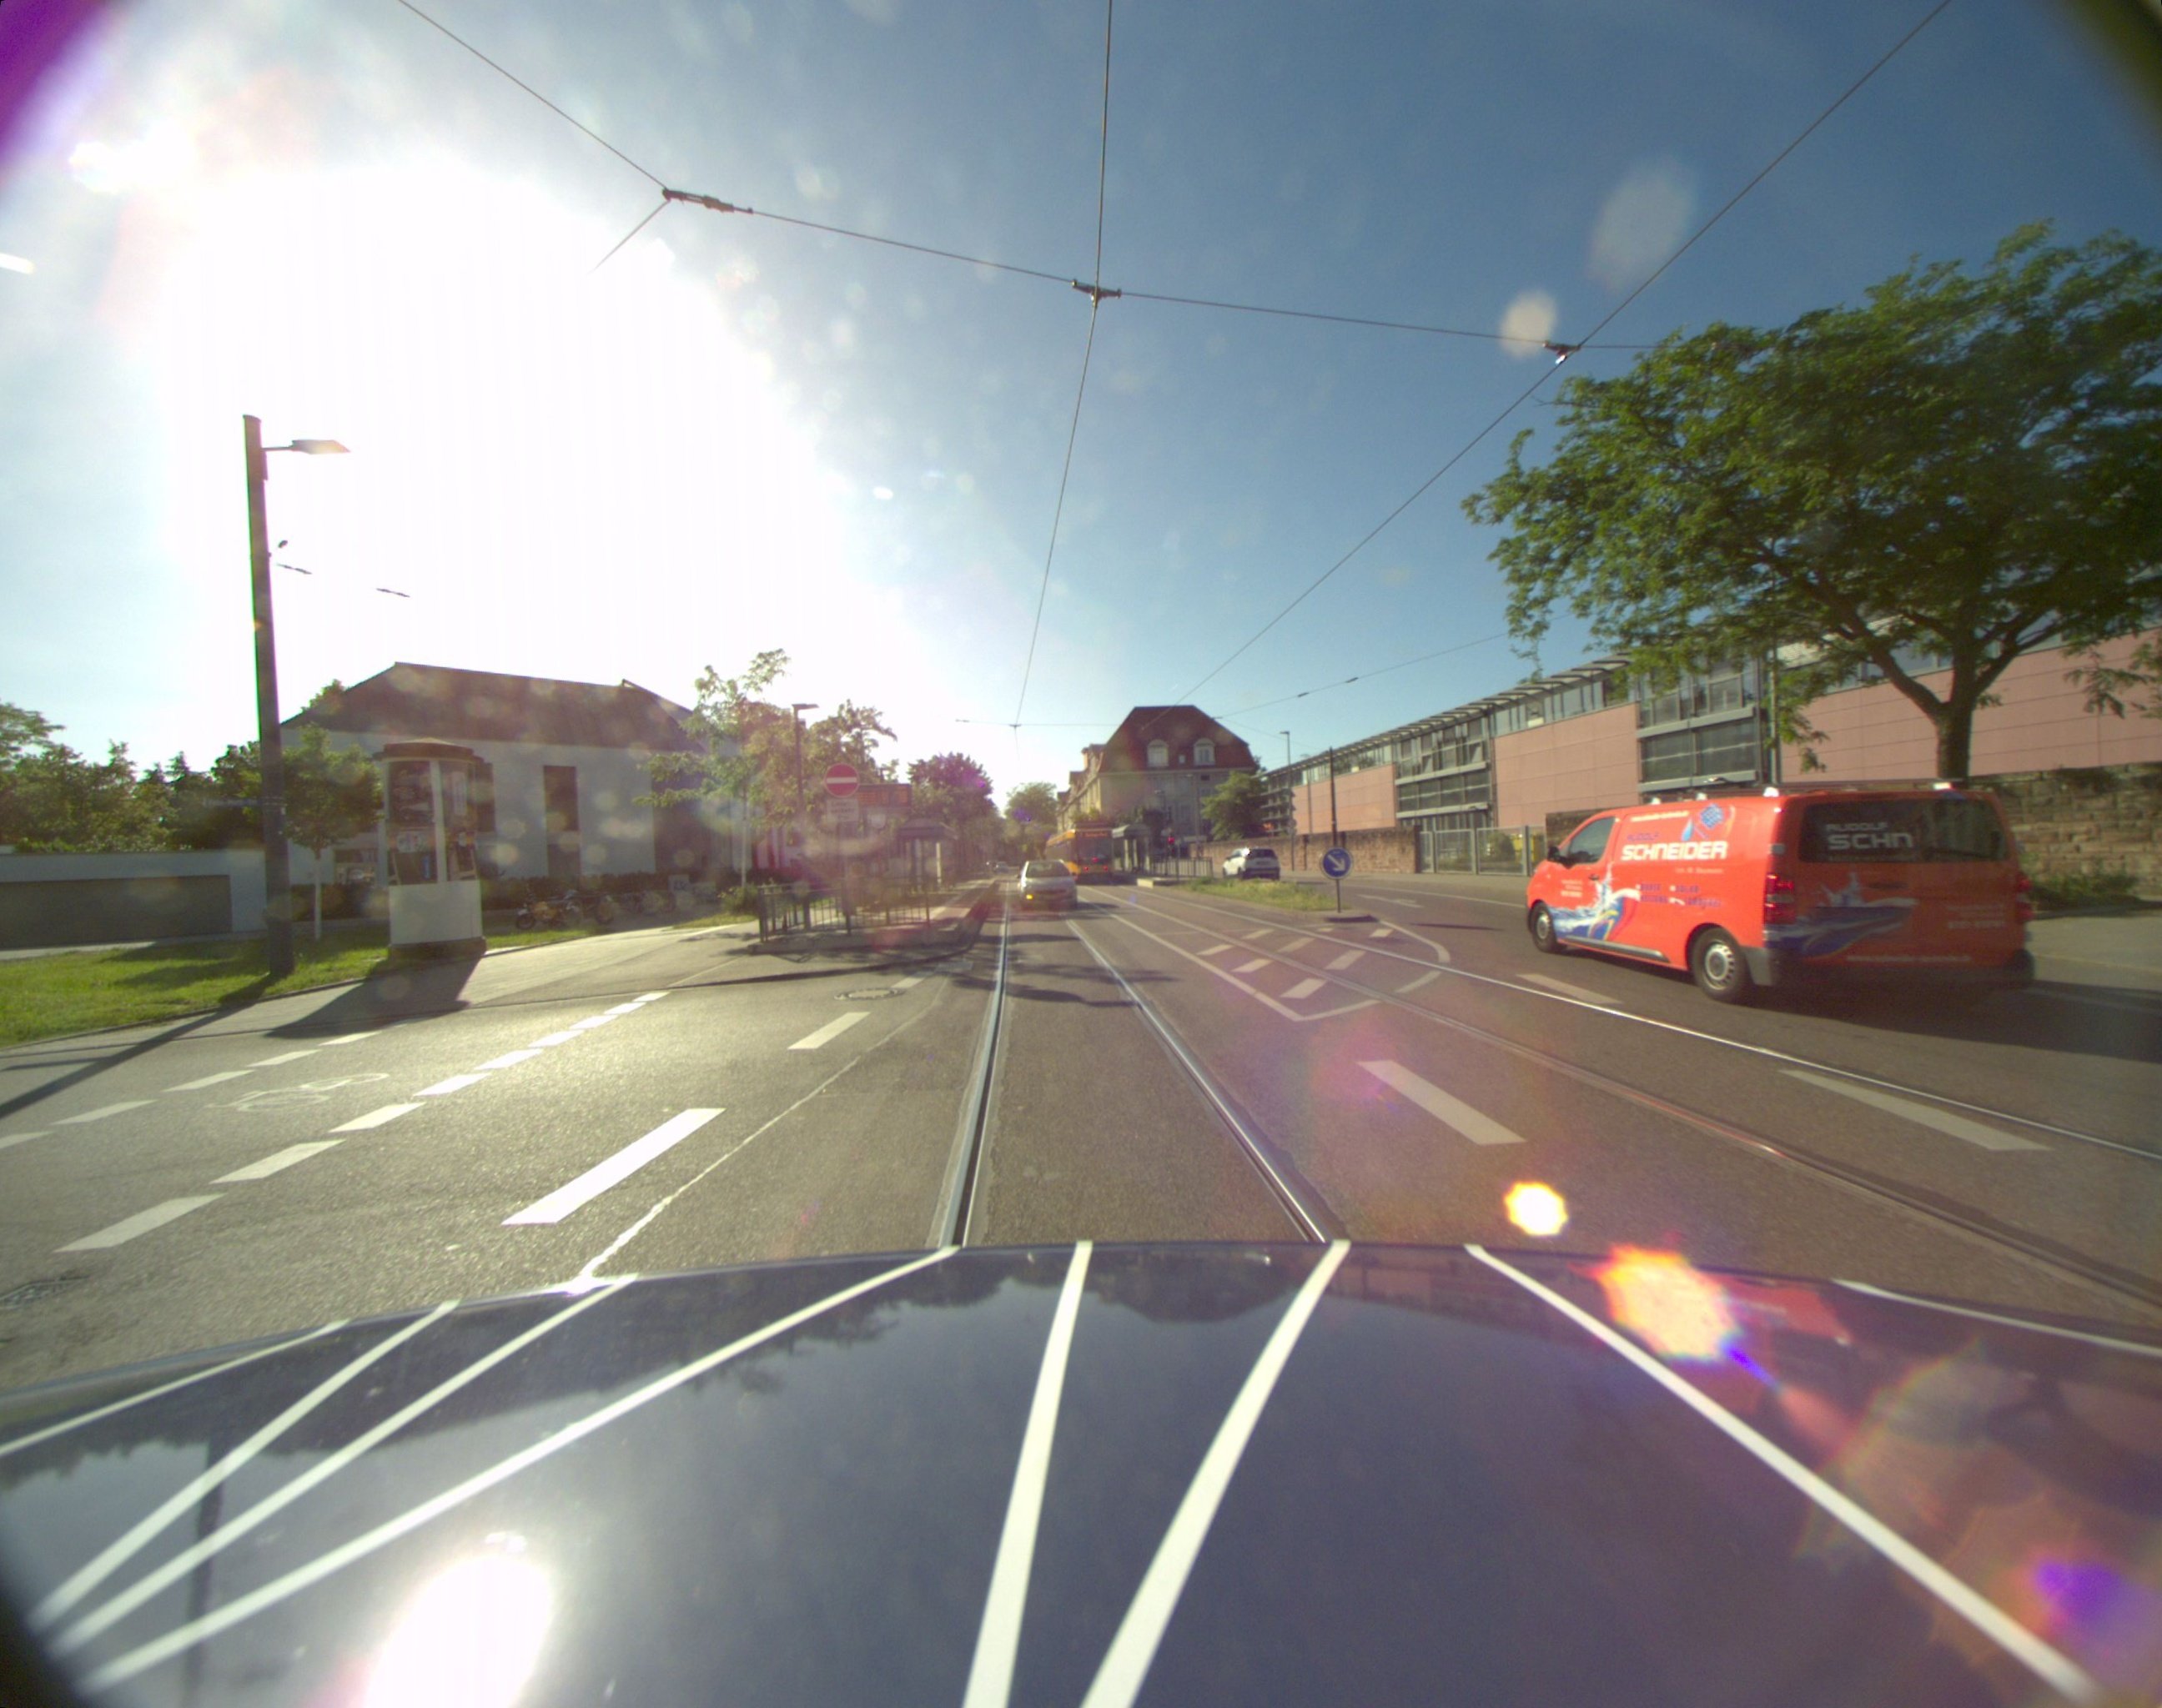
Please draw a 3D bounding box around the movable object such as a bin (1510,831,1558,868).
[{"bbox_3d":[16.791,-0.162,28.166,0.883,1.277,1.308,-2,1,-7],"label":"movable object such as a bin"}]

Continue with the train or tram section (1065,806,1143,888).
[{"bbox_3d":[0.938,-0.302,36.230,2.812,3.439,6.665,-3,0,-5],"label":"train or tram section"}]

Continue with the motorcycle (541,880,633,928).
[{"bbox_3d":[-14.753,1.470,22.738,2.084,1.267,0.861,-2,1,-11],"label":"motorcycle"}]

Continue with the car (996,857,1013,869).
[{"bbox_3d":[-10.091,1.210,100.318,1.744,1.450,3.689,-3,0,-13],"label":"car"}]

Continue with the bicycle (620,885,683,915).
[{"bbox_3d":[-15.617,1.657,27.663,1.904,0.973,0.491,-2,1,-11],"label":"bicycle"}]

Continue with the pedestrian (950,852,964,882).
[{"bbox_3d":[-7.190,0.734,44.070,0.673,1.694,0.690,-4,1,-6],"label":"pedestrian"}]

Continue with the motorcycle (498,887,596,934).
[{"bbox_3d":[-14.847,1.554,21.169,2.005,1.151,0.861,-2,1,-11],"label":"motorcycle"}]

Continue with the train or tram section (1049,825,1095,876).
[{"bbox_3d":[-0.769,-0.227,56.619,2.812,3.439,6.665,-3,0,-5],"label":"train or tram section"}]

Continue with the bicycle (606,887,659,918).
[{"bbox_3d":[-15.445,1.657,26.183,1.475,0.973,0.415,-2,1,-11],"label":"bicycle"}]

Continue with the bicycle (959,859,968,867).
[{"bbox_3d":[-14.620,1.115,94.601,0.827,0.880,2.198,-3,0,-1],"label":"bicycle"}]

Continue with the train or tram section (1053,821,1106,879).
[{"bbox_3d":[-0.202,-0.247,49.931,2.812,3.439,6.665,-3,0,-5],"label":"train or tram section"}]

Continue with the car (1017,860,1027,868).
[{"bbox_3d":[-10.911,1.886,140.429,1.743,1.450,4.403,-3,0,-6],"label":"car"}]

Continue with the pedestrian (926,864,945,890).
[{"bbox_3d":[-6.684,1.044,34.918,0.740,1.111,0.658,-4,1,-5],"label":"pedestrian"}]

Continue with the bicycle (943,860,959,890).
[{"bbox_3d":[-5.741,0.914,33.589,0.621,1.222,1.965,-3,0,-9],"label":"bicycle"}]

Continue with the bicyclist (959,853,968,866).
[{"bbox_3d":[-14.642,0.666,94.624,0.819,1.491,1.258,-3,0,-1],"label":"bicyclist"}]

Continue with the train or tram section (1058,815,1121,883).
[{"bbox_3d":[0.360,-0.268,43.287,2.812,3.439,6.665,-3,0,-5],"label":"train or tram section"}]

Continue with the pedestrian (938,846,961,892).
[{"bbox_3d":[-5.488,0.610,31.746,0.713,1.843,0.729,-4,1,-3],"label":"pedestrian"}]

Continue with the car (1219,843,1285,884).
[{"bbox_3d":[7.658,0.409,34.390,1.770,1.654,4.208,-2,0,-4],"label":"car"}]

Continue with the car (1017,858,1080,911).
[{"bbox_3d":[-1.051,0.896,23.893,1.742,1.450,3.692,-3,0,-3],"label":"car"}]

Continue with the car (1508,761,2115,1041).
[{"bbox_3d":[6.616,0.342,7.945,1.997,1.954,4.936,-2,0,7],"label":"car"}]
